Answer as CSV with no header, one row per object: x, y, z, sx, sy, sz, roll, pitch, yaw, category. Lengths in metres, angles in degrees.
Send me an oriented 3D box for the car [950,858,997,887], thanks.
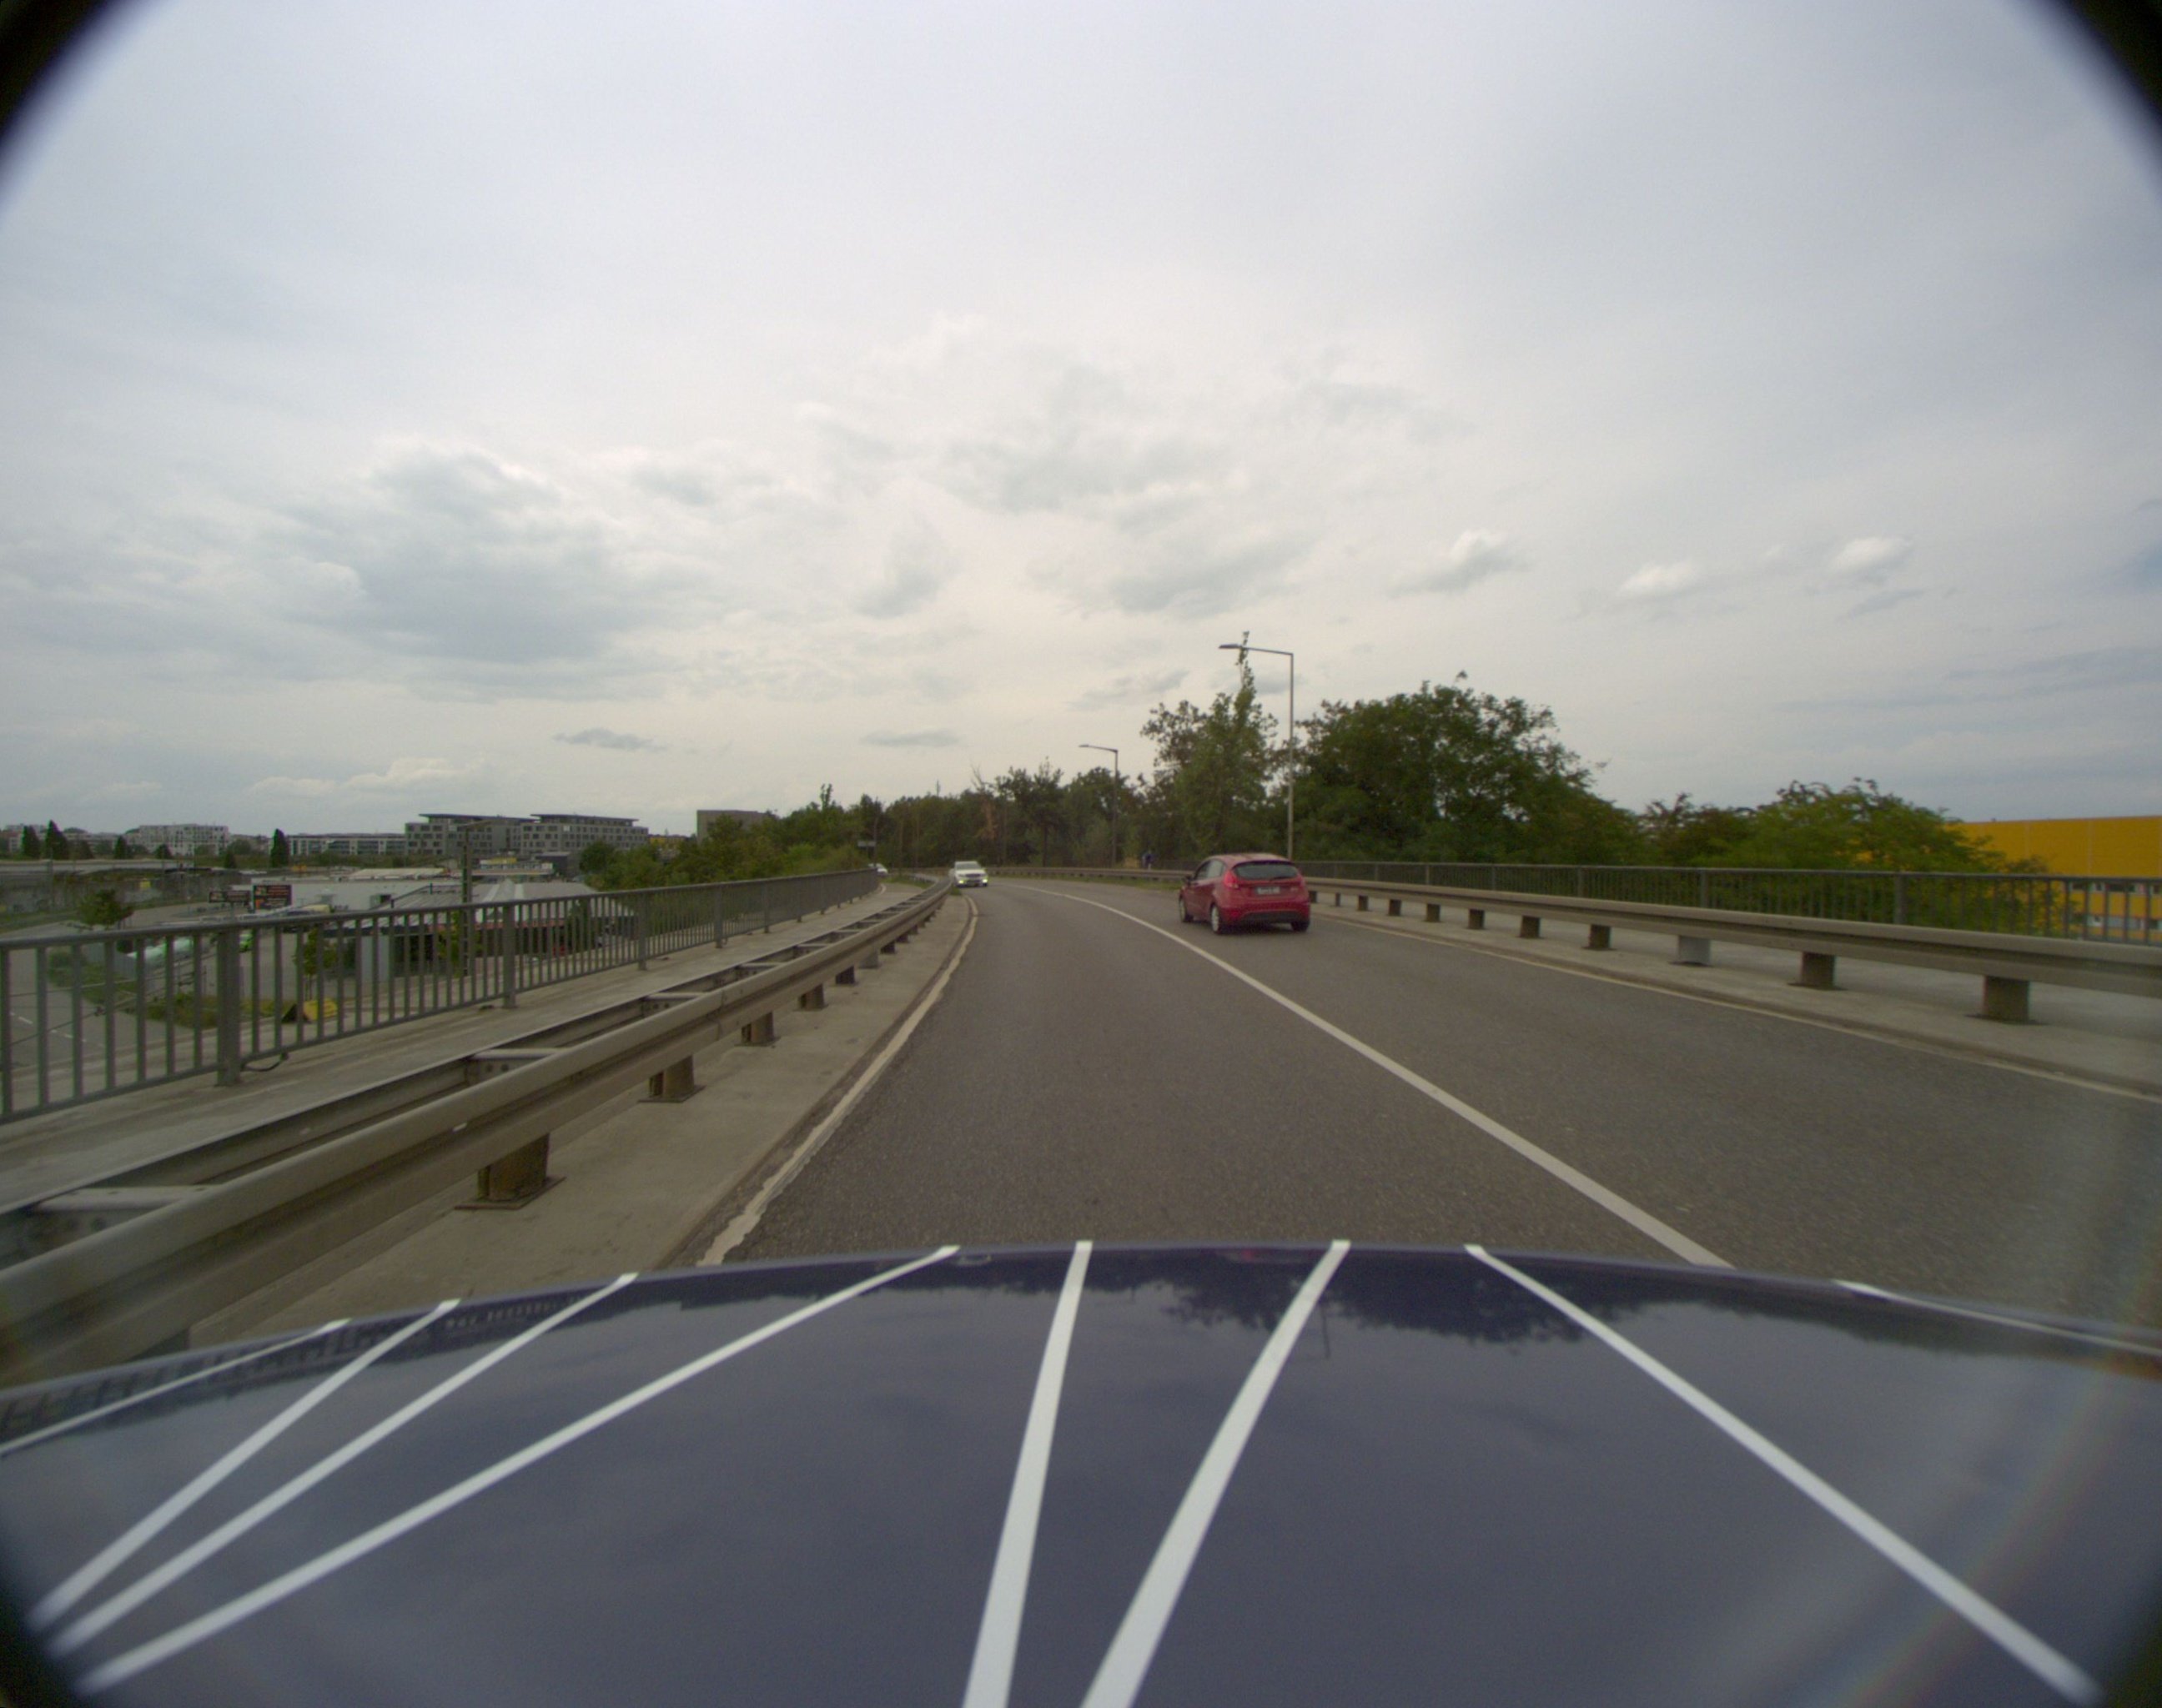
-6.180,1.071,43.242,1.940,1.448,3.881,-3,-1,-18,car

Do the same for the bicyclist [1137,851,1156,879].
3.501,0.576,40.565,0.713,1.436,0.747,-2,0,-17,bicyclist

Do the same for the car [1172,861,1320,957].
3.026,0.948,14.796,1.764,1.483,3.998,-2,0,-3,car

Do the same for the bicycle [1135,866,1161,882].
3.532,1.048,40.498,0.694,0.793,1.890,-2,-1,-17,bicycle

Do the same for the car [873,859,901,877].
-19.625,1.442,76.664,1.966,1.694,4.425,-2,-1,-23,car
